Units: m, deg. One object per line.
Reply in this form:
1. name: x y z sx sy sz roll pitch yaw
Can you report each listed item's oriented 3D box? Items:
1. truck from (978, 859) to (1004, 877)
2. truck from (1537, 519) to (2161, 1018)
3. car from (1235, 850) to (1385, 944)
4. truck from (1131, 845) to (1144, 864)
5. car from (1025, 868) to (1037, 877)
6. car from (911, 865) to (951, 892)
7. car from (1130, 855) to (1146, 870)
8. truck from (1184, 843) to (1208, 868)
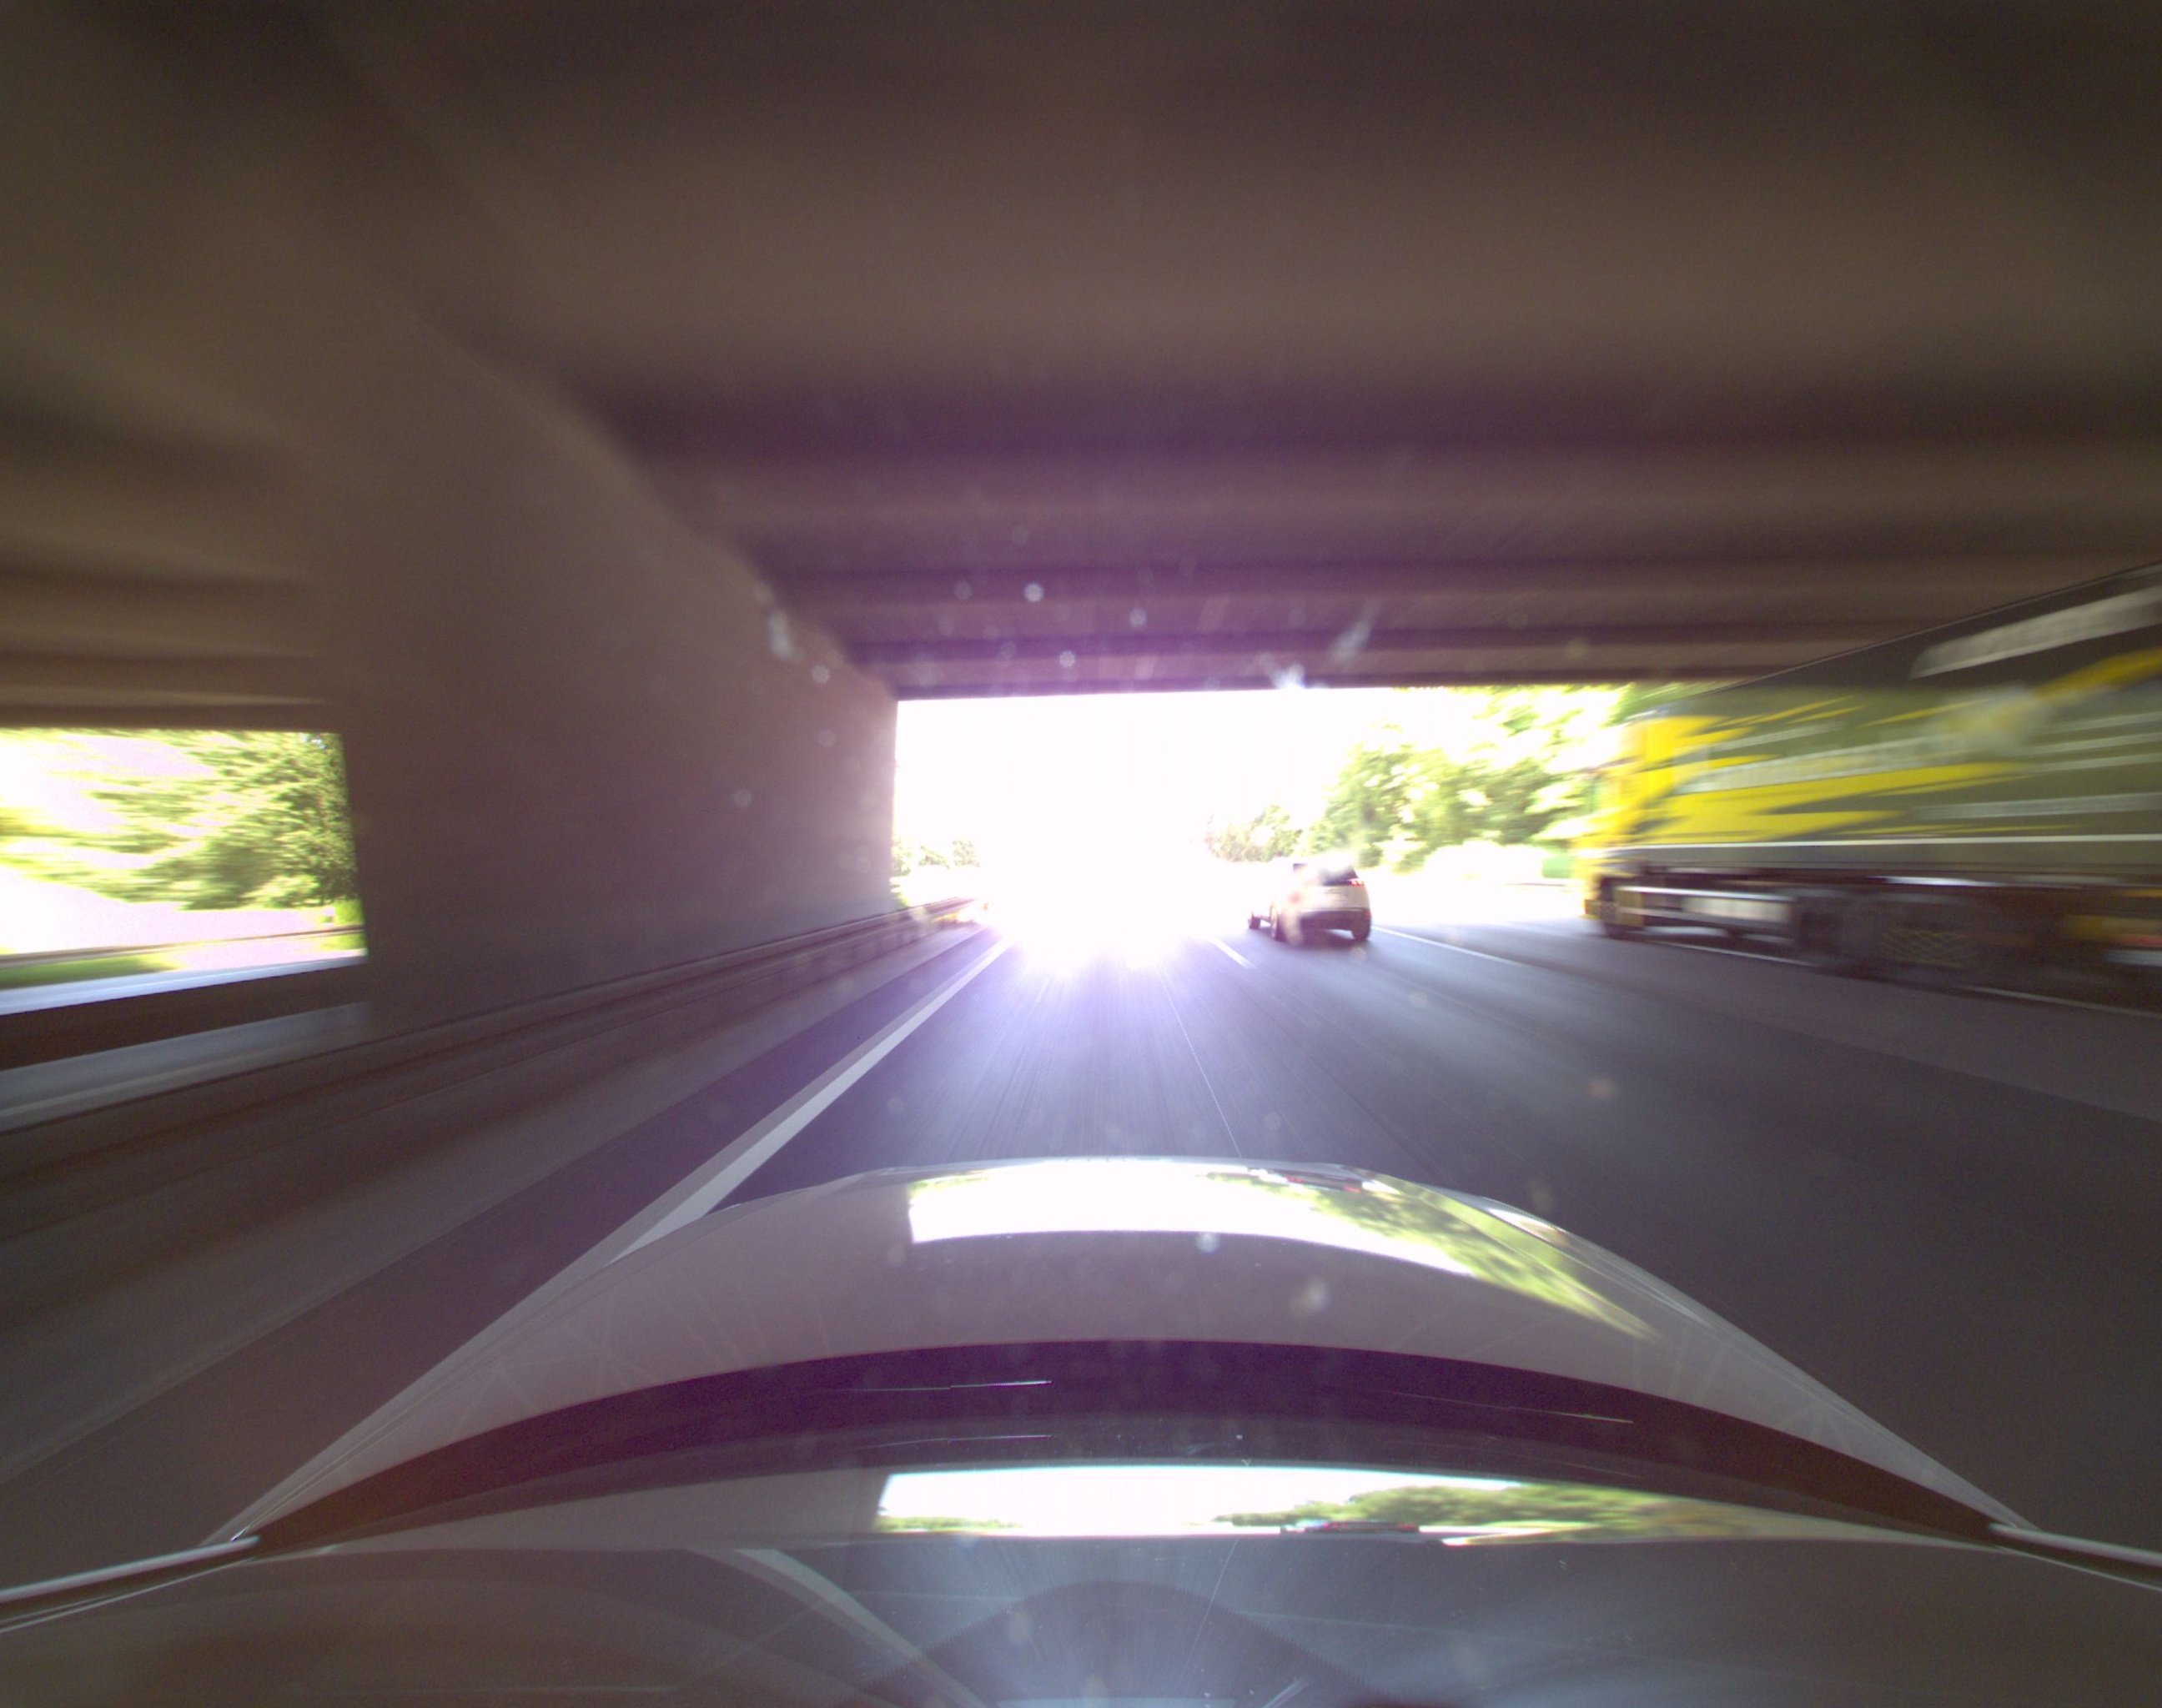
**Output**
1. truck: -16.135 2.550 147.160 2.743 2.990 12.860 -3 -1 2
2. truck: 10.662 -0.631 11.657 2.961 4.037 10.996 0 -1 5
3. car: 4.470 0.775 16.665 1.820 1.608 4.810 -1 -1 2
4. truck: 15.626 0.235 227.363 3.363 4.881 15.096 0 -1 3
5. car: -8.891 3.294 145.508 1.682 1.544 4.206 0 -1 2
6. car: -10.613 1.714 57.921 1.733 1.719 4.641 -3 -1 2
7. car: 7.076 1.059 100.648 1.820 1.706 4.001 0 -1 2
8. truck: 15.902 0.263 113.094 3.013 3.319 10.789 -1 -1 6
